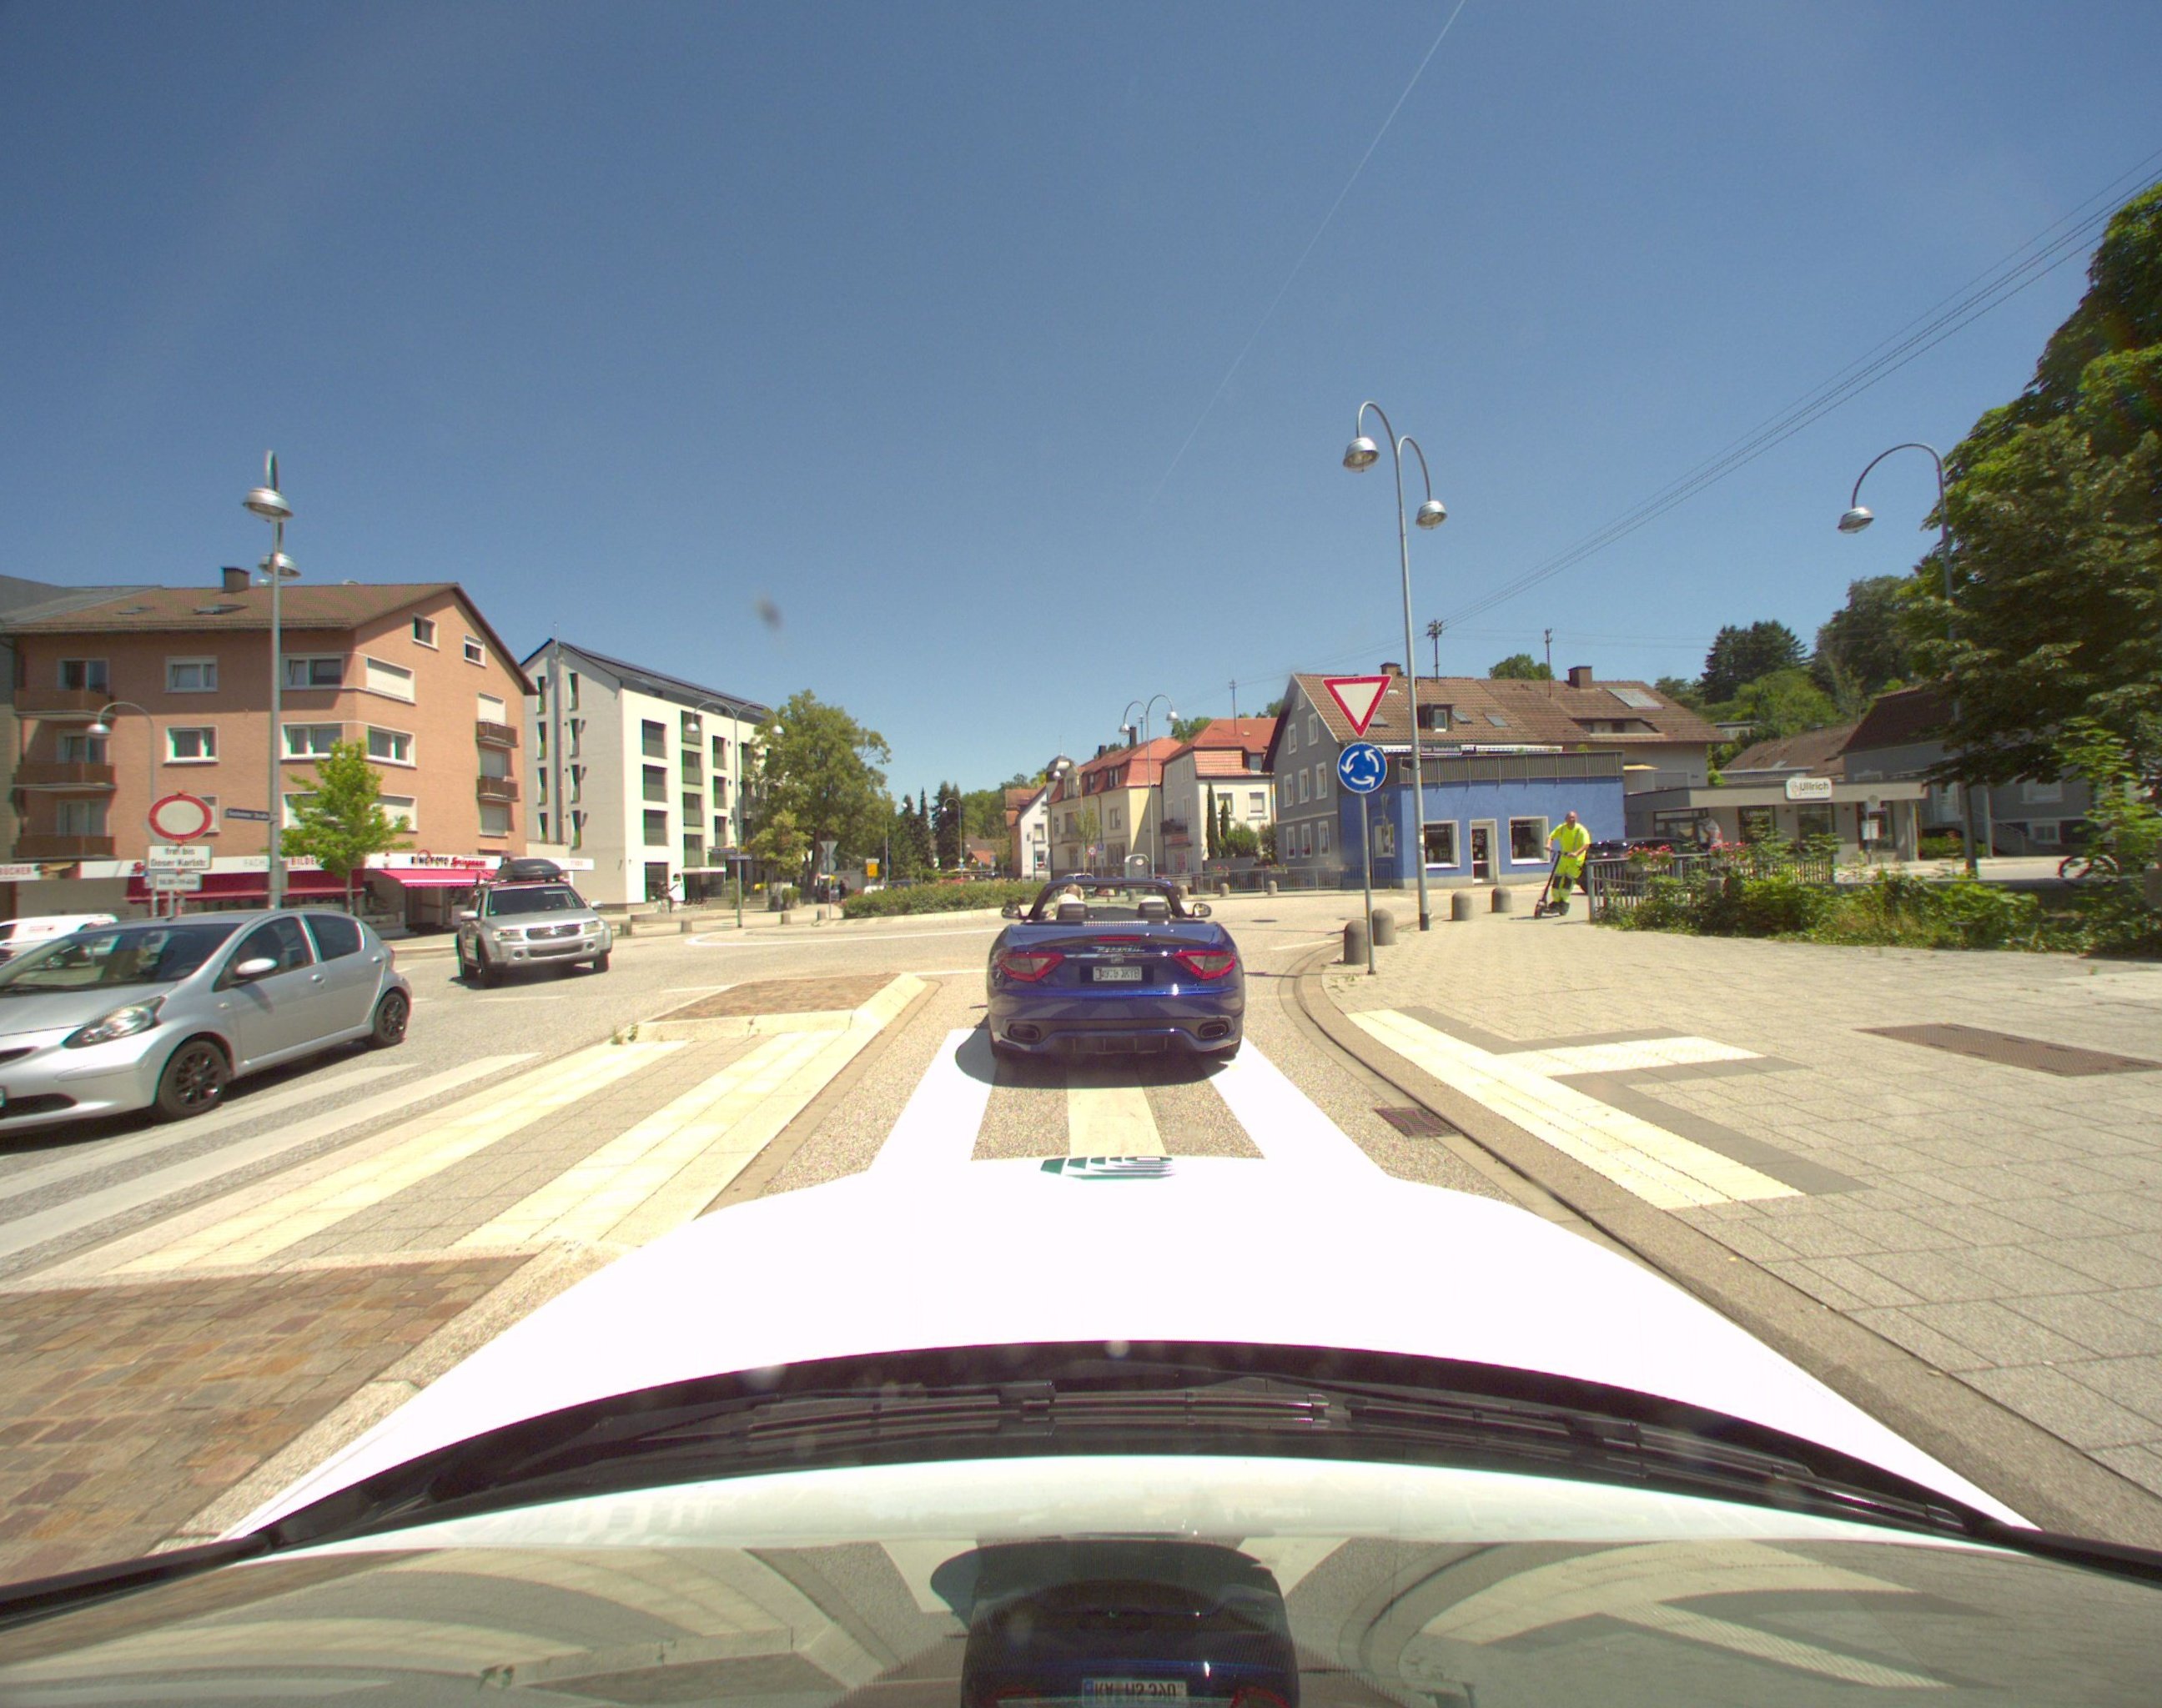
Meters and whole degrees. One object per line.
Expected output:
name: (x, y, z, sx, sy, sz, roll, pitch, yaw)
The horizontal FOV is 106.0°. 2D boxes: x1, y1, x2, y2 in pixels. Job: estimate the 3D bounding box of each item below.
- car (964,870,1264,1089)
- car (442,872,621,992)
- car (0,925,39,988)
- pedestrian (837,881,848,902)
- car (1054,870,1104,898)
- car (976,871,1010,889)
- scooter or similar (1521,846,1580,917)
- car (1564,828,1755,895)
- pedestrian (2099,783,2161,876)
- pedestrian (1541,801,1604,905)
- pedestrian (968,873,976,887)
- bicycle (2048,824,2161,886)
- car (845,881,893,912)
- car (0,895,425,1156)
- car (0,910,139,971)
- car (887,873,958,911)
car: (0.326, 0.854, 7.386, 1.902, 1.360, 4.288, -1, -1, 3)
car: (-9.894, 1.332, 14.535, 1.849, 1.688, 4.149, -5, 0, -44)
car: (-27.888, 2.616, 18.660, 4.527, 1.403, 1.761, -4, 1, -34)
pedestrian: (-18.478, 2.872, 63.073, 0.531, 1.576, 0.564, -3, -1, 12)
car: (-0.181, 1.919, 51.709, 1.924, 1.613, 4.121, -2, -2, -18)
car: (-8.578, 2.570, 79.053, 1.861, 1.588, 3.962, -3, -1, -28)
scooter or similar: (8.481, 0.483, 14.763, 0.525, 1.222, 1.244, -3, -1, 13)
car: (15.646, 0.173, 22.088, 4.252, 1.547, 1.804, -3, 0, -12)
pedestrian: (19.398, -0.442, 14.949, 0.749, 1.632, 0.711, -2, -2, -31)
pedestrian: (8.835, -0.015, 14.640, 0.743, 1.799, 0.672, -4, -1, -42)
pedestrian: (-12.065, 2.885, 90.196, 0.614, 1.585, 0.582, -2, -1, -25)
bicycle: (19.379, 0.014, 15.024, 0.749, 1.083, 1.831, -2, -1, -31)
car: (-11.681, 2.318, 45.135, 1.991, 1.509, 3.991, -2, -1, -6)
car: (-7.234, 1.177, 6.616, 1.578, 1.450, 3.453, -5, 0, -14)
car: (-34.546, 2.894, 26.990, 3.994, 1.750, 1.793, -3, -1, -15)
car: (-7.586, 1.805, 39.383, 1.785, 1.642, 4.074, -3, -2, 13)
